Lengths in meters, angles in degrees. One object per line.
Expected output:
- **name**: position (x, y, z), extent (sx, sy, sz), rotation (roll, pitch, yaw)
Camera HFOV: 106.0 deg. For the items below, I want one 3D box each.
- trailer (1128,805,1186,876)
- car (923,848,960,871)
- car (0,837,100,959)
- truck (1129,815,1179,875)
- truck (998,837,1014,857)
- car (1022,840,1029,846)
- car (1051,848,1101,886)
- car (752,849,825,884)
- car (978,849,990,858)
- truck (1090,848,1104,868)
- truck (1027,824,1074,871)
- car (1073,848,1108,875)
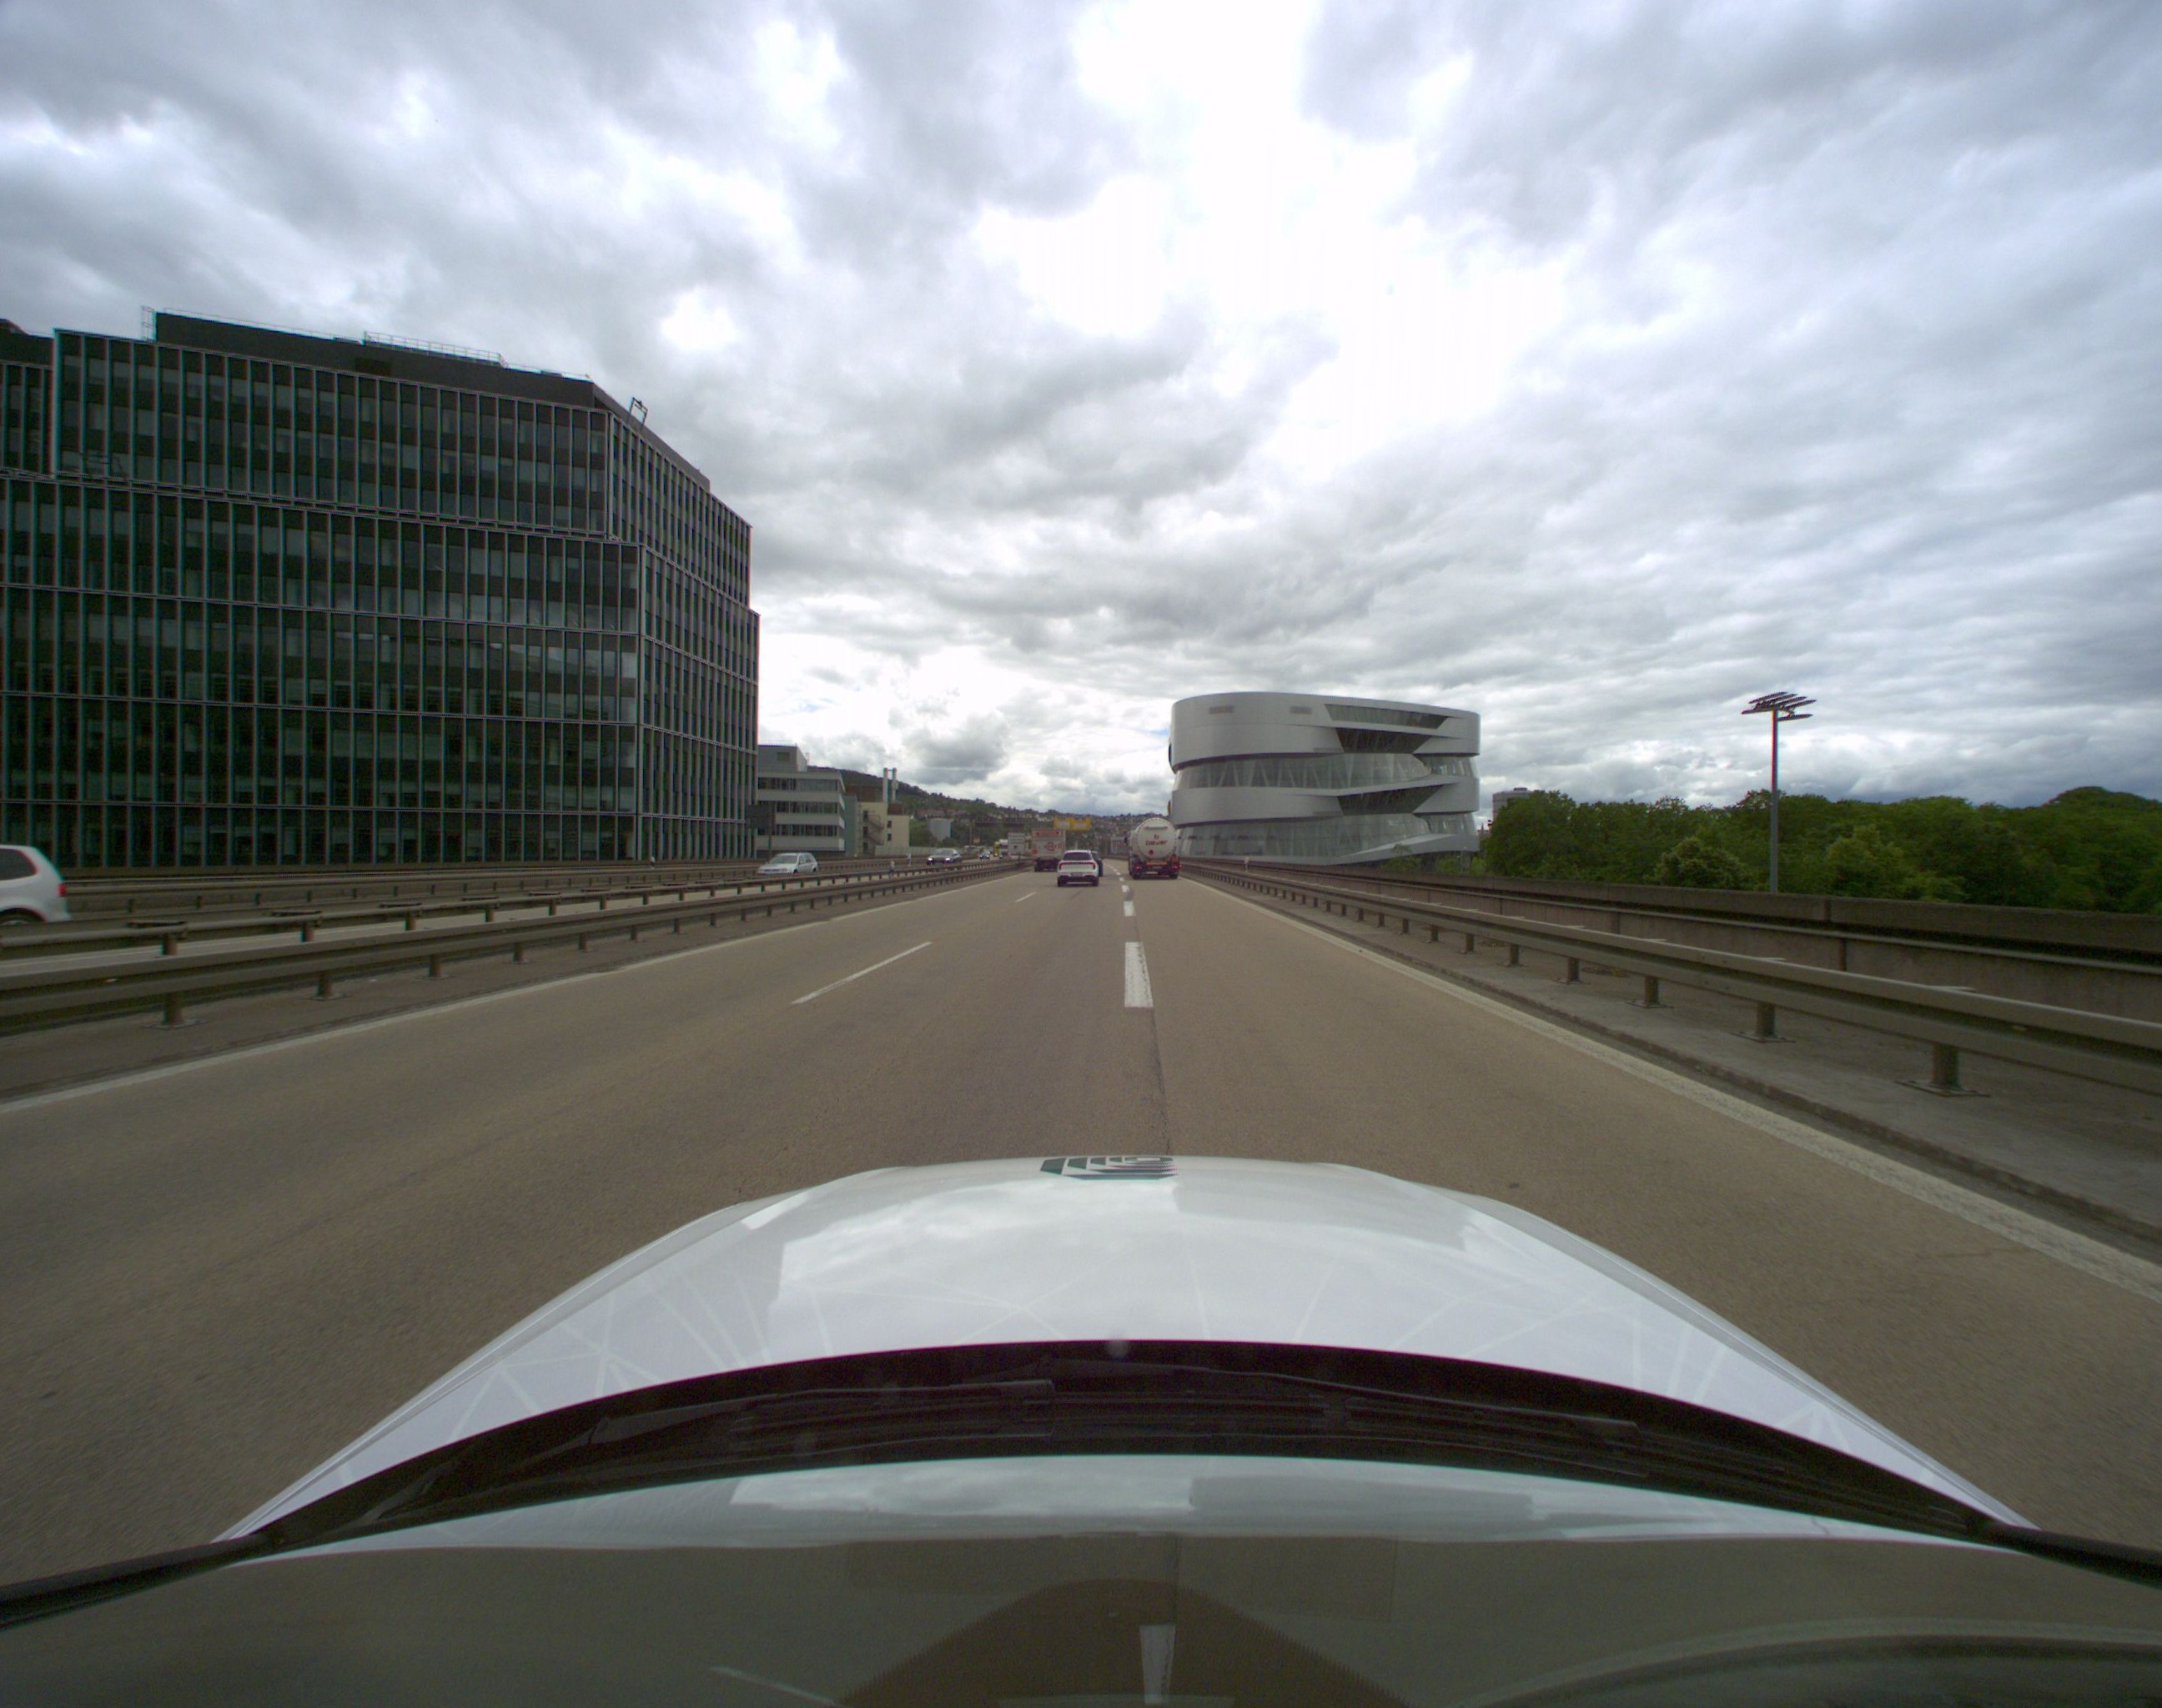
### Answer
- **trailer**: position (4.427, -0.685, 48.135), extent (3.043, 3.790, 8.313), rotation (-1, 0, 4)
- **car**: position (-10.405, 0.418, 61.203), extent (1.755, 1.650, 4.338), rotation (2, 0, 3)
- **car**: position (-15.614, 0.583, 10.019), extent (1.675, 1.650, 4.317), rotation (0, 0, 4)
- **truck**: position (4.722, -0.545, 53.836), extent (3.002, 3.657, 6.278), rotation (-1, -1, 3)
- **truck**: position (-15.803, -1.536, 171.683), extent (2.764, 4.079, 5.643), rotation (-1, -1, -1)
- **car**: position (-16.031, -3.060, 233.861), extent (1.990, 1.606, 4.800), rotation (-1, -1, -4)
- **car**: position (-0.185, 0.591, 38.651), extent (1.984, 1.675, 4.413), rotation (-1, -1, 4)
- **car**: position (-14.255, 0.593, 39.938), extent (1.675, 1.650, 4.453), rotation (0, 0, 4)
- **car**: position (-18.425, -0.072, 154.824), extent (1.678, 1.650, 4.358), rotation (0, 0, -1)
- **truck**: position (3.754, 0.878, 193.237), extent (3.048, 4.562, 8.299), rotation (-1, 0, -1)
- **truck**: position (-2.483, -0.502, 69.529), extent (3.043, 3.691, 8.313), rotation (-1, 0, 4)
- **car**: position (0.645, 0.520, 53.484), extent (1.984, 1.675, 4.413), rotation (-1, -1, 4)
